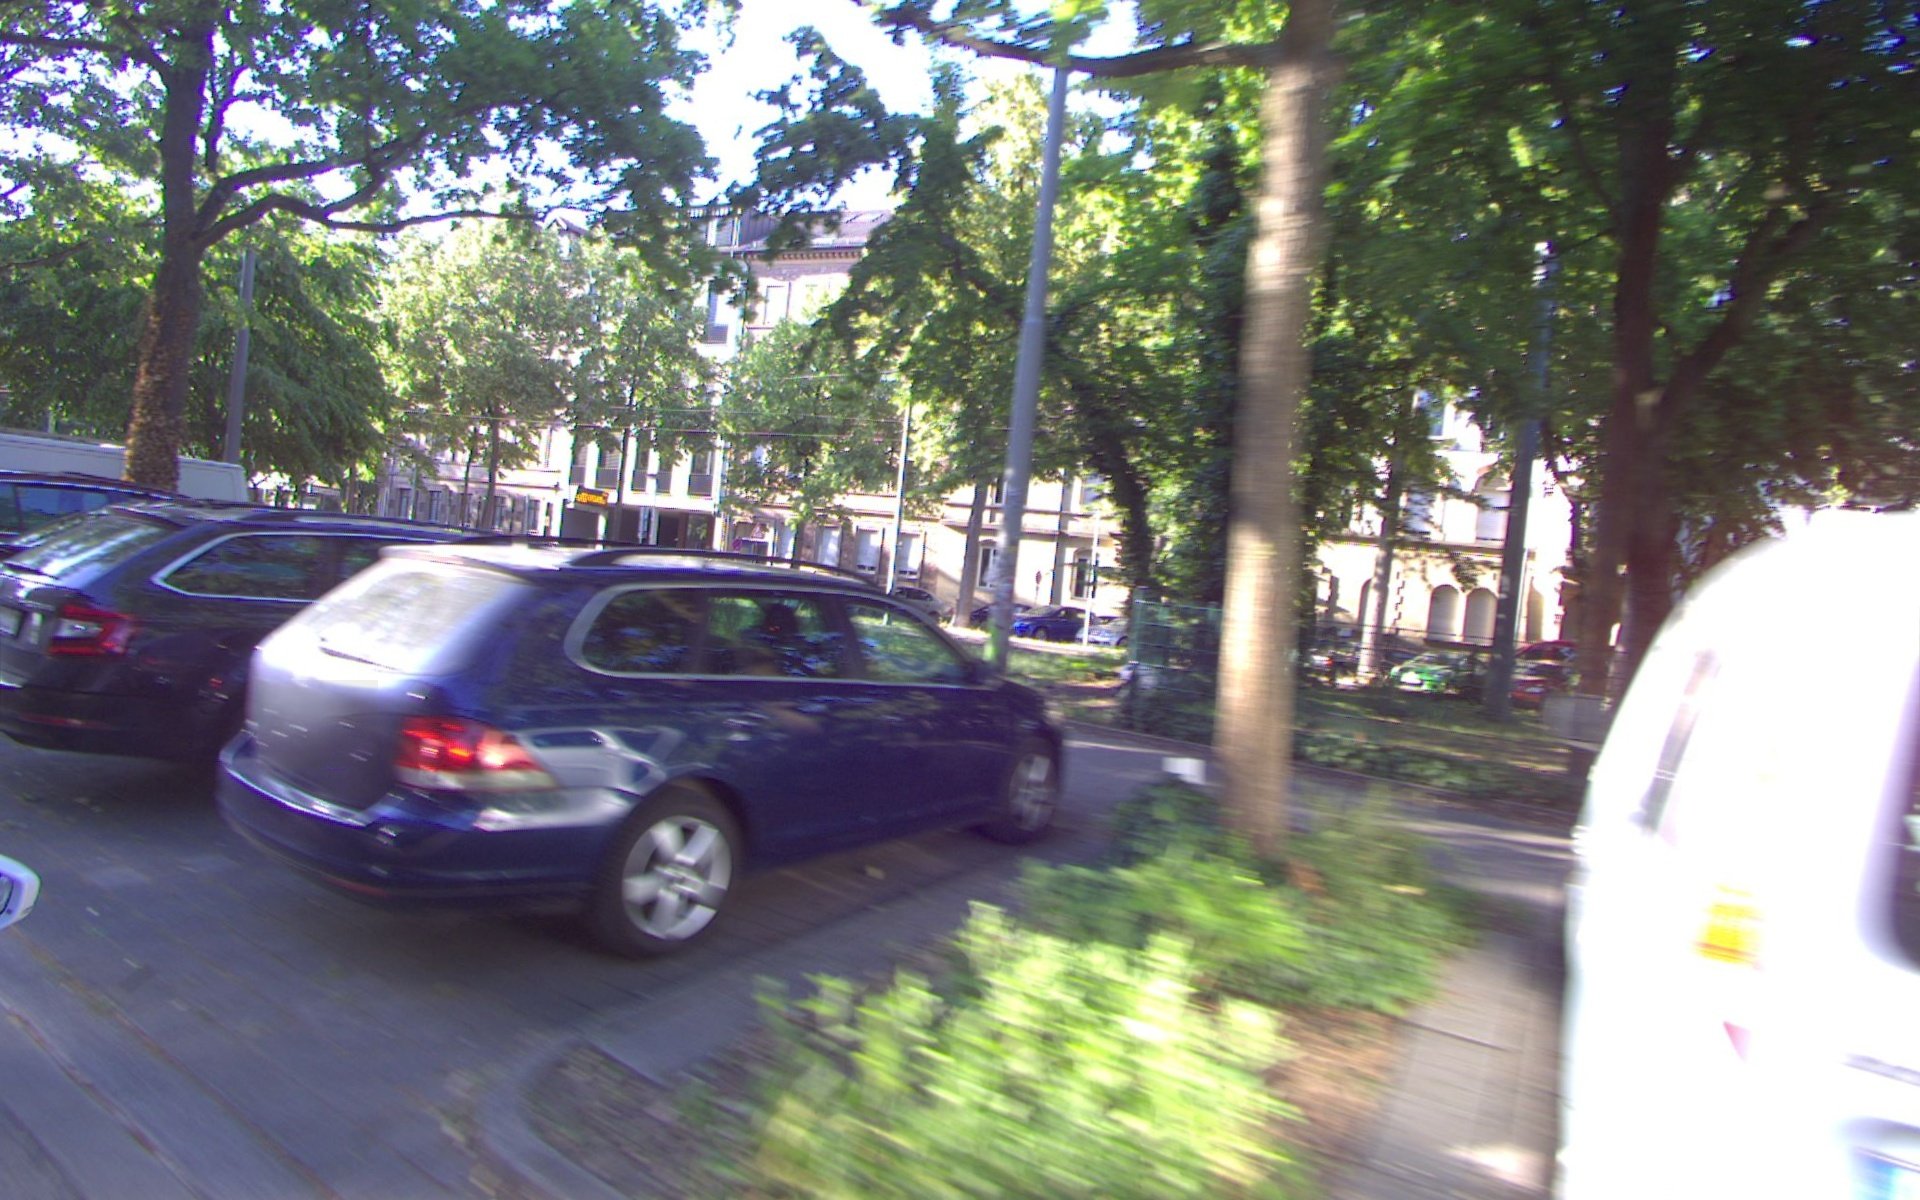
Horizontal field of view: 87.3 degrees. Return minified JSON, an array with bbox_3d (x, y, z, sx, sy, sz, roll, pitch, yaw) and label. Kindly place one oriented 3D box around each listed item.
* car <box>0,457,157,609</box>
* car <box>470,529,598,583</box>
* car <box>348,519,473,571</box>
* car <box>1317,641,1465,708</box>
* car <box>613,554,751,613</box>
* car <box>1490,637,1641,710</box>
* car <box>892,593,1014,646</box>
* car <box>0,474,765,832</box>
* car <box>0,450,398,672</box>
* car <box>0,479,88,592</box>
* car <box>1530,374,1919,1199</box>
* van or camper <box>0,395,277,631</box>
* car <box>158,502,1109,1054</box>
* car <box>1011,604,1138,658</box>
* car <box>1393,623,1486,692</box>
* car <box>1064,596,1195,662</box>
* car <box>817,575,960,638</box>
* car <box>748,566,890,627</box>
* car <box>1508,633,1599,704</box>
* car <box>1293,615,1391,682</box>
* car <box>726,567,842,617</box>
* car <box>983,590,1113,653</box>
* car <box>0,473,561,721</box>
[{"bbox_3d":[-13.351,-1.033,13.109,1.827,1.839,3.995,7,-1,30],"label":"car"},{"bbox_3d":[-18.372,-1.861,43.466,4.670,1.704,1.983,7,-2,-35],"label":"car"},{"bbox_3d":[-24.819,-2.447,45.487,4.671,1.704,1.982,7,-2,-35],"label":"car"},{"bbox_3d":[15.531,2.675,36.519,4.650,1.849,2.001,5,-1,19],"label":"car"},{"bbox_3d":[-10.725,-0.625,38.898,4.670,1.704,1.983,7,-2,-35],"label":"car"},{"bbox_3d":[20.587,2.483,34.394,3.925,2.038,2.001,5,-1,18],"label":"car"},{"bbox_3d":[-0.278,0.822,42.459,4.650,1.707,2.001,5,-1,19],"label":"car"},{"bbox_3d":[-3.455,0.220,6.424,1.834,1.472,4.219,7,2,33],"label":"car"},{"bbox_3d":[-7.633,-0.347,9.099,1.829,1.714,3.986,7,2,33],"label":"car"},{"bbox_3d":[-15.354,-1.132,14.311,1.828,1.566,3.995,5,-2,29],"label":"car"},{"bbox_3d":[2.787,0.766,2.841,1.733,1.889,4.219,7,2,33],"label":"car"},{"bbox_3d":[-11.276,-1.067,11.638,2.149,2.405,4.990,5,-2,30],"label":"van or camper"},{"bbox_3d":[-1.046,0.532,4.937,1.623,1.472,4.216,7,2,36],"label":"car"},{"bbox_3d":[4.655,1.264,40.752,4.650,1.707,2.001,5,-1,19],"label":"car"},{"bbox_3d":[14.279,1.749,29.844,1.968,1.704,3.992,5,-2,32],"label":"car"},{"bbox_3d":[5.537,0.958,32.700,3.968,1.704,1.980,7,-2,-38],"label":"car"},{"bbox_3d":[-2.523,0.251,35.965,4.670,1.704,1.983,7,-2,-35],"label":"car"},{"bbox_3d":[-5.146,-0.125,36.950,4.670,1.704,1.983,7,-2,-35],"label":"car"},{"bbox_3d":[16.936,1.979,28.676,1.968,1.704,3.992,5,-2,32],"label":"car"},{"bbox_3d":[11.793,1.531,30.875,1.968,1.704,3.992,5,-2,32],"label":"car"},{"bbox_3d":[-7.945,-0.354,45.464,4.650,1.707,2.001,5,-1,19],"label":"car"},{"bbox_3d":[2.977,0.734,33.773,3.968,1.704,1.980,7,-2,-38],"label":"car"},{"bbox_3d":[-5.514,-0.036,7.955,1.829,1.480,3.986,7,2,33],"label":"car"}]
